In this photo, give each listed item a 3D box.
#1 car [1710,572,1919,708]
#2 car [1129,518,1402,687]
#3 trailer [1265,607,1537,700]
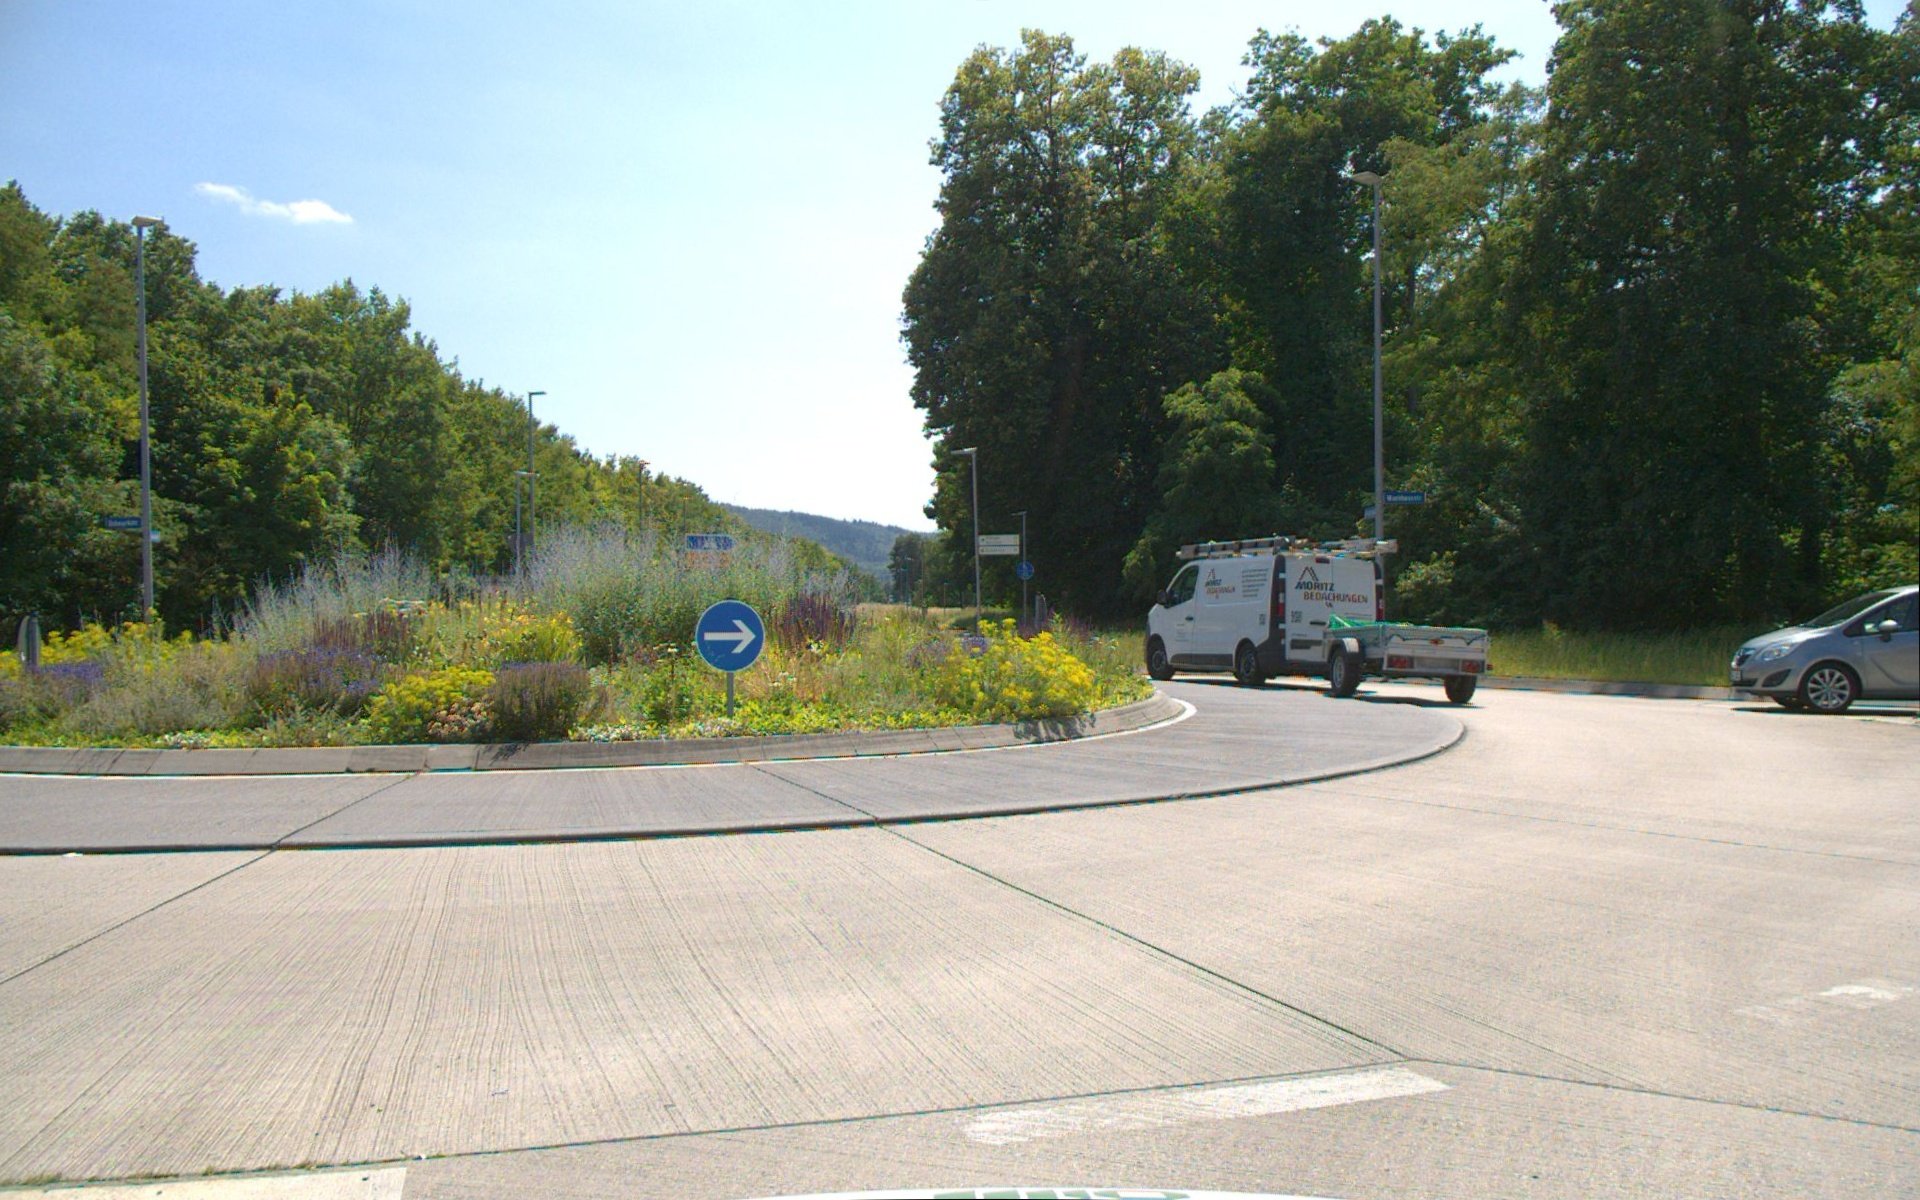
[{"bbox_3d":[11.811,0.493,20.788,4.026,1.635,1.792,0,-1,11],"label":"car"},{"bbox_3d":[4.606,0.063,25.829,2.132,2.357,4.956,0,-1,-18],"label":"car"},{"bbox_3d":[5.707,0.664,21.793,2.087,1.116,3.340,0,-1,-16],"label":"trailer"}]
